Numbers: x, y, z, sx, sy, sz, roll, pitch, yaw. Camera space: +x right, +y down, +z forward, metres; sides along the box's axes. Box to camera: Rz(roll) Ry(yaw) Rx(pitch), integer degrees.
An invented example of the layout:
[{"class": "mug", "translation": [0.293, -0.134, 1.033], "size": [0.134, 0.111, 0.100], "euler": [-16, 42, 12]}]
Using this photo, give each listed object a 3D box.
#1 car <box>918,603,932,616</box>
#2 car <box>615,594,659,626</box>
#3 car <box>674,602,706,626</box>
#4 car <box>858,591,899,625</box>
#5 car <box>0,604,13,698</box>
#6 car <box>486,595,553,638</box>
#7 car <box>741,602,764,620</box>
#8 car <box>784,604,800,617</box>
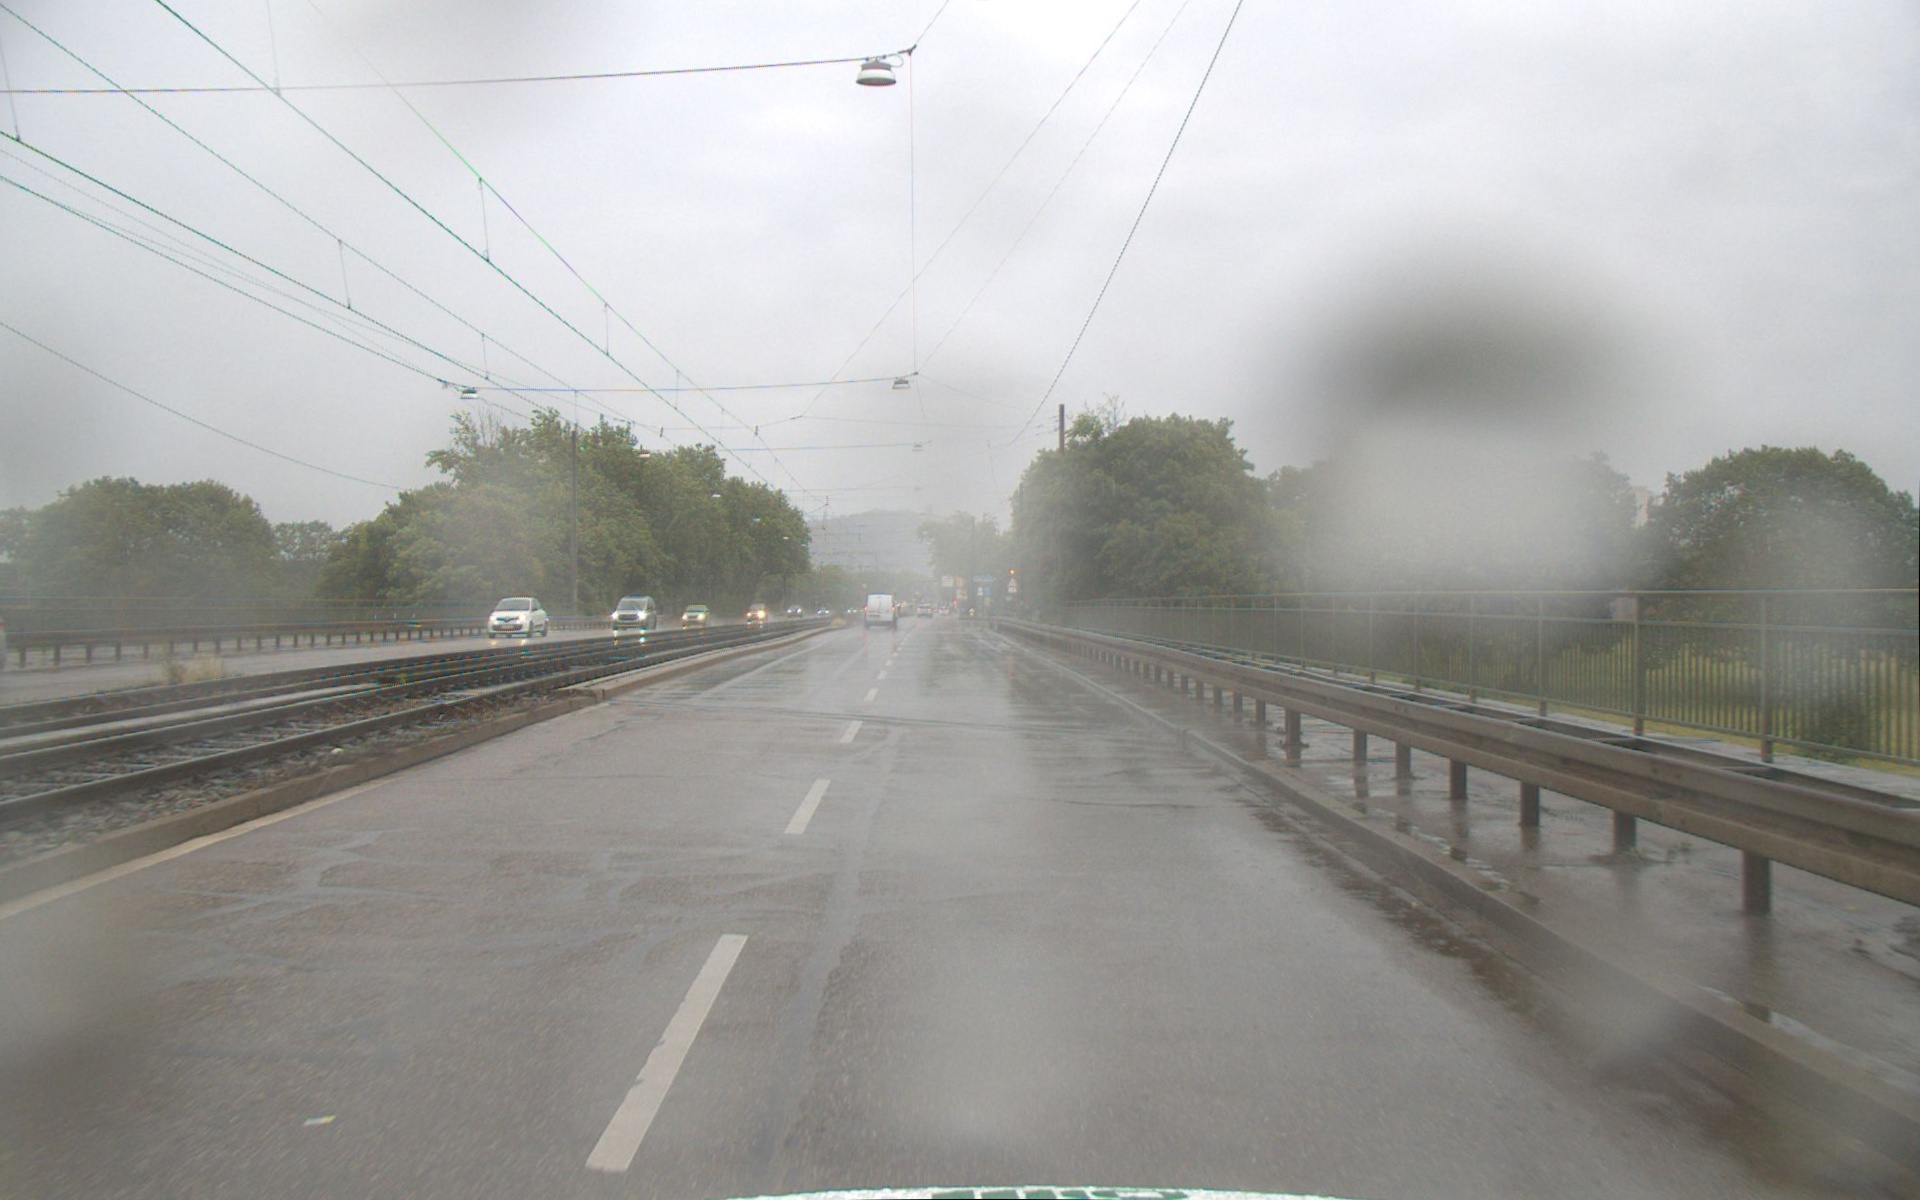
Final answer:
[{"class": "car", "translation": [-4.475, 1.164, 208.973], "size": [1.708, 1.534, 3.699], "euler": [1, 1, -2]}, {"class": "car", "translation": [-17.135, 0.515, 87.833], "size": [1.708, 1.534, 3.699], "euler": [1, 1, -2]}, {"class": "car", "translation": [-18.491, 0.938, 113.404], "size": [1.708, 1.534, 3.699], "euler": [1, 1, -2]}, {"class": "car", "translation": [-4.305, 0.409, 87.832], "size": [1.948, 1.713, 3.740], "euler": [1, 1, 0]}, {"class": "car", "translation": [-16.101, 0.845, 24.498], "size": [1.761, 1.478, 4.194], "euler": [1, 1, -1]}, {"class": "car", "translation": [-17.366, 0.627, 65.366], "size": [1.708, 1.534, 3.699], "euler": [1, 1, -2]}, {"class": "car", "translation": [-19.053, 1.029, 151.813], "size": [1.708, 1.534, 3.699], "euler": [1, 1, -2]}, {"class": "car", "translation": [-21.423, 1.317, 211.245], "size": [1.708, 1.534, 3.699], "euler": [1, 1, -2]}]
